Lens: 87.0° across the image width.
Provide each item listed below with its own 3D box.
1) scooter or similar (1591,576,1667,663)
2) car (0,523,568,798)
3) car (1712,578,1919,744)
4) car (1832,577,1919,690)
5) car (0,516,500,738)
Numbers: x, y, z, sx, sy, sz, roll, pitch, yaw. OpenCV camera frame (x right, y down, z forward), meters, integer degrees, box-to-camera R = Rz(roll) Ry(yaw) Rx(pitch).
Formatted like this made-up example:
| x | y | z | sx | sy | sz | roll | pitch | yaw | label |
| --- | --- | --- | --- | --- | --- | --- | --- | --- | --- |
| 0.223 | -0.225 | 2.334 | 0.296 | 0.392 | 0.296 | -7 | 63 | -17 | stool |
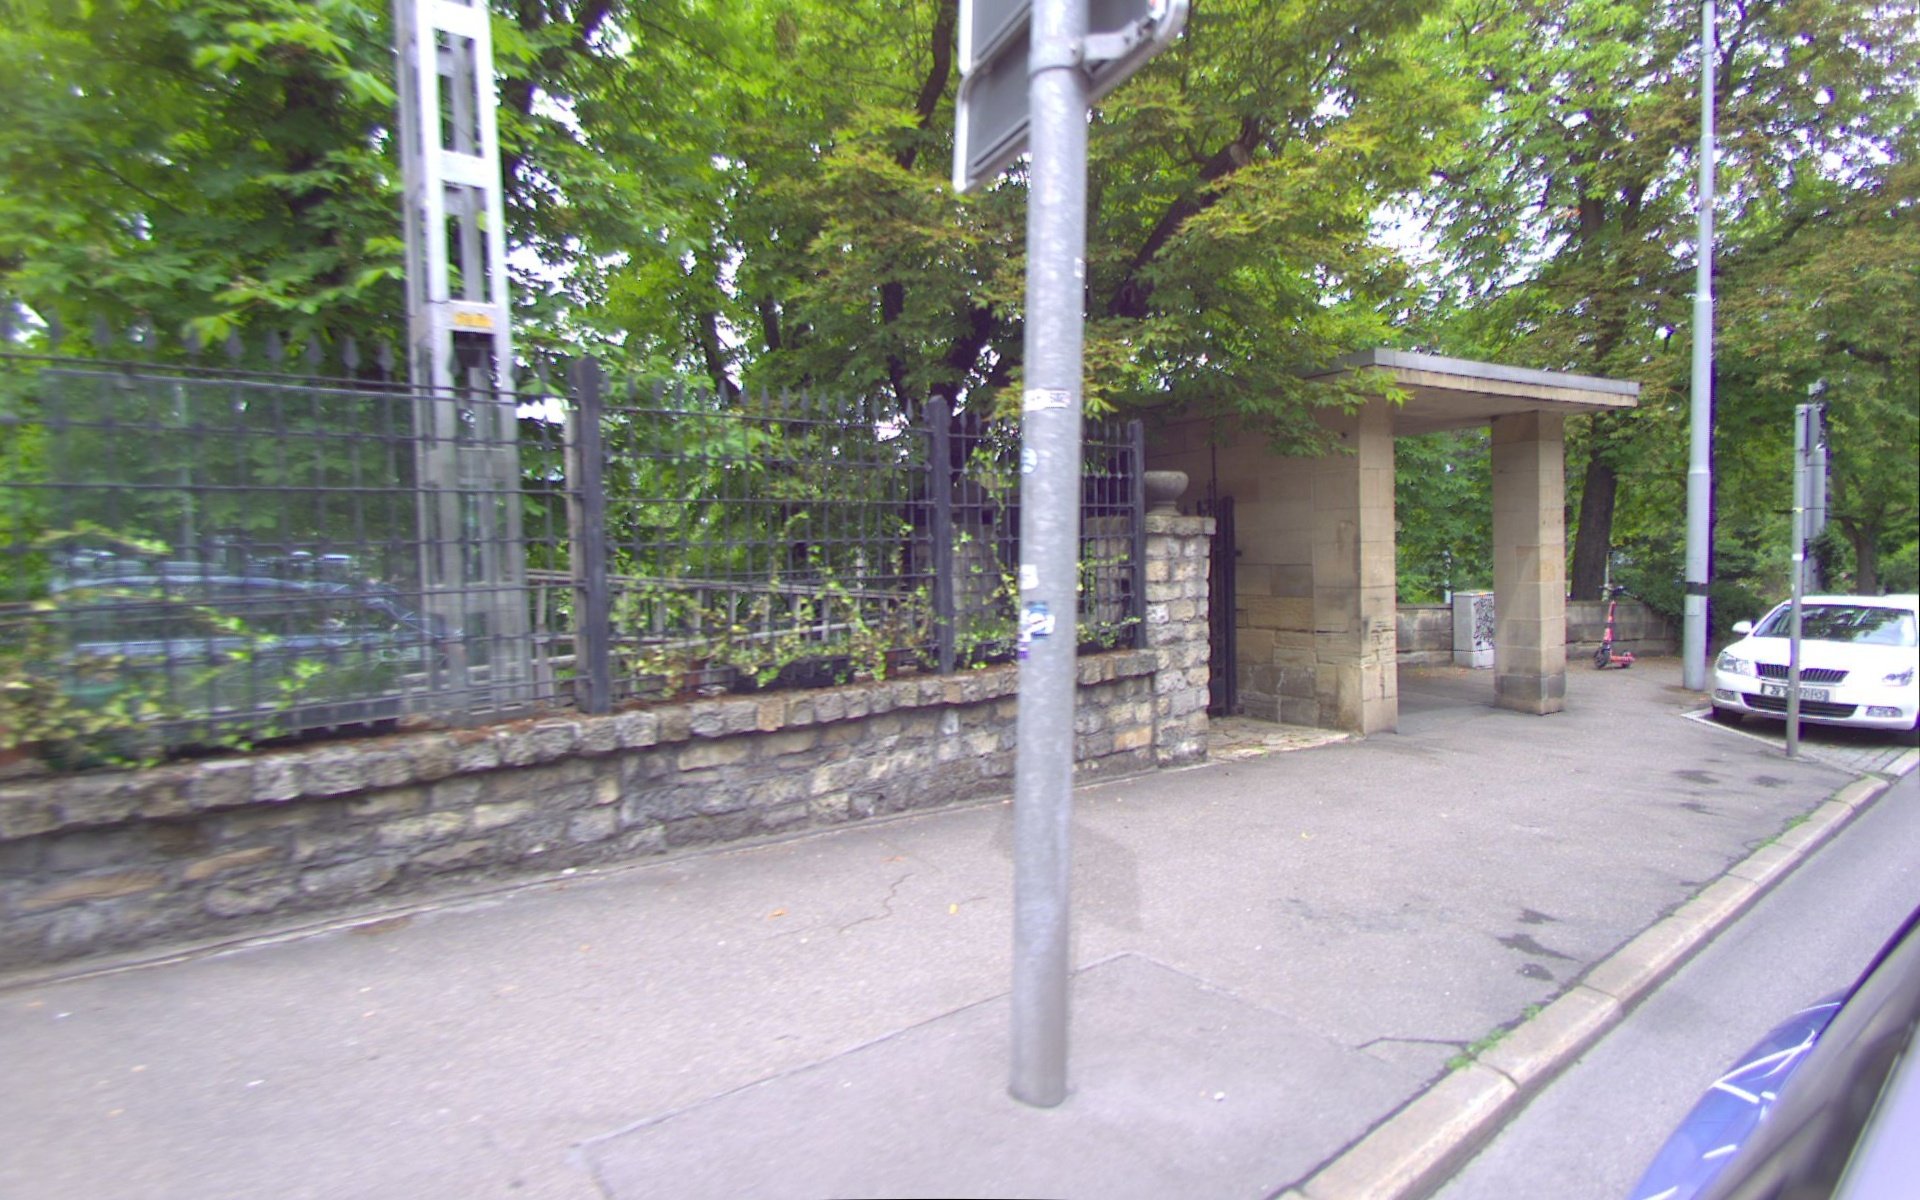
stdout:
| x | y | z | sx | sy | sz | roll | pitch | yaw | label |
| --- | --- | --- | --- | --- | --- | --- | --- | --- | --- |
| 10.252 | 0.289 | 15.504 | 1.146 | 1.275 | 0.518 | 1 | 3 | -35 | scooter or similar |
| -4.917 | 0.307 | 6.673 | 3.927 | 1.440 | 1.998 | 1 | 0 | -39 | car |
| 10.140 | 0.554 | 11.329 | 4.286 | 1.479 | 1.680 | 0 | 3 | -39 | car |
| 14.591 | 0.496 | 15.066 | 3.966 | 1.489 | 1.720 | 1 | 4 | -40 | car |
| -6.232 | 0.183 | 8.518 | 3.927 | 1.526 | 1.998 | 1 | 0 | -39 | car |
